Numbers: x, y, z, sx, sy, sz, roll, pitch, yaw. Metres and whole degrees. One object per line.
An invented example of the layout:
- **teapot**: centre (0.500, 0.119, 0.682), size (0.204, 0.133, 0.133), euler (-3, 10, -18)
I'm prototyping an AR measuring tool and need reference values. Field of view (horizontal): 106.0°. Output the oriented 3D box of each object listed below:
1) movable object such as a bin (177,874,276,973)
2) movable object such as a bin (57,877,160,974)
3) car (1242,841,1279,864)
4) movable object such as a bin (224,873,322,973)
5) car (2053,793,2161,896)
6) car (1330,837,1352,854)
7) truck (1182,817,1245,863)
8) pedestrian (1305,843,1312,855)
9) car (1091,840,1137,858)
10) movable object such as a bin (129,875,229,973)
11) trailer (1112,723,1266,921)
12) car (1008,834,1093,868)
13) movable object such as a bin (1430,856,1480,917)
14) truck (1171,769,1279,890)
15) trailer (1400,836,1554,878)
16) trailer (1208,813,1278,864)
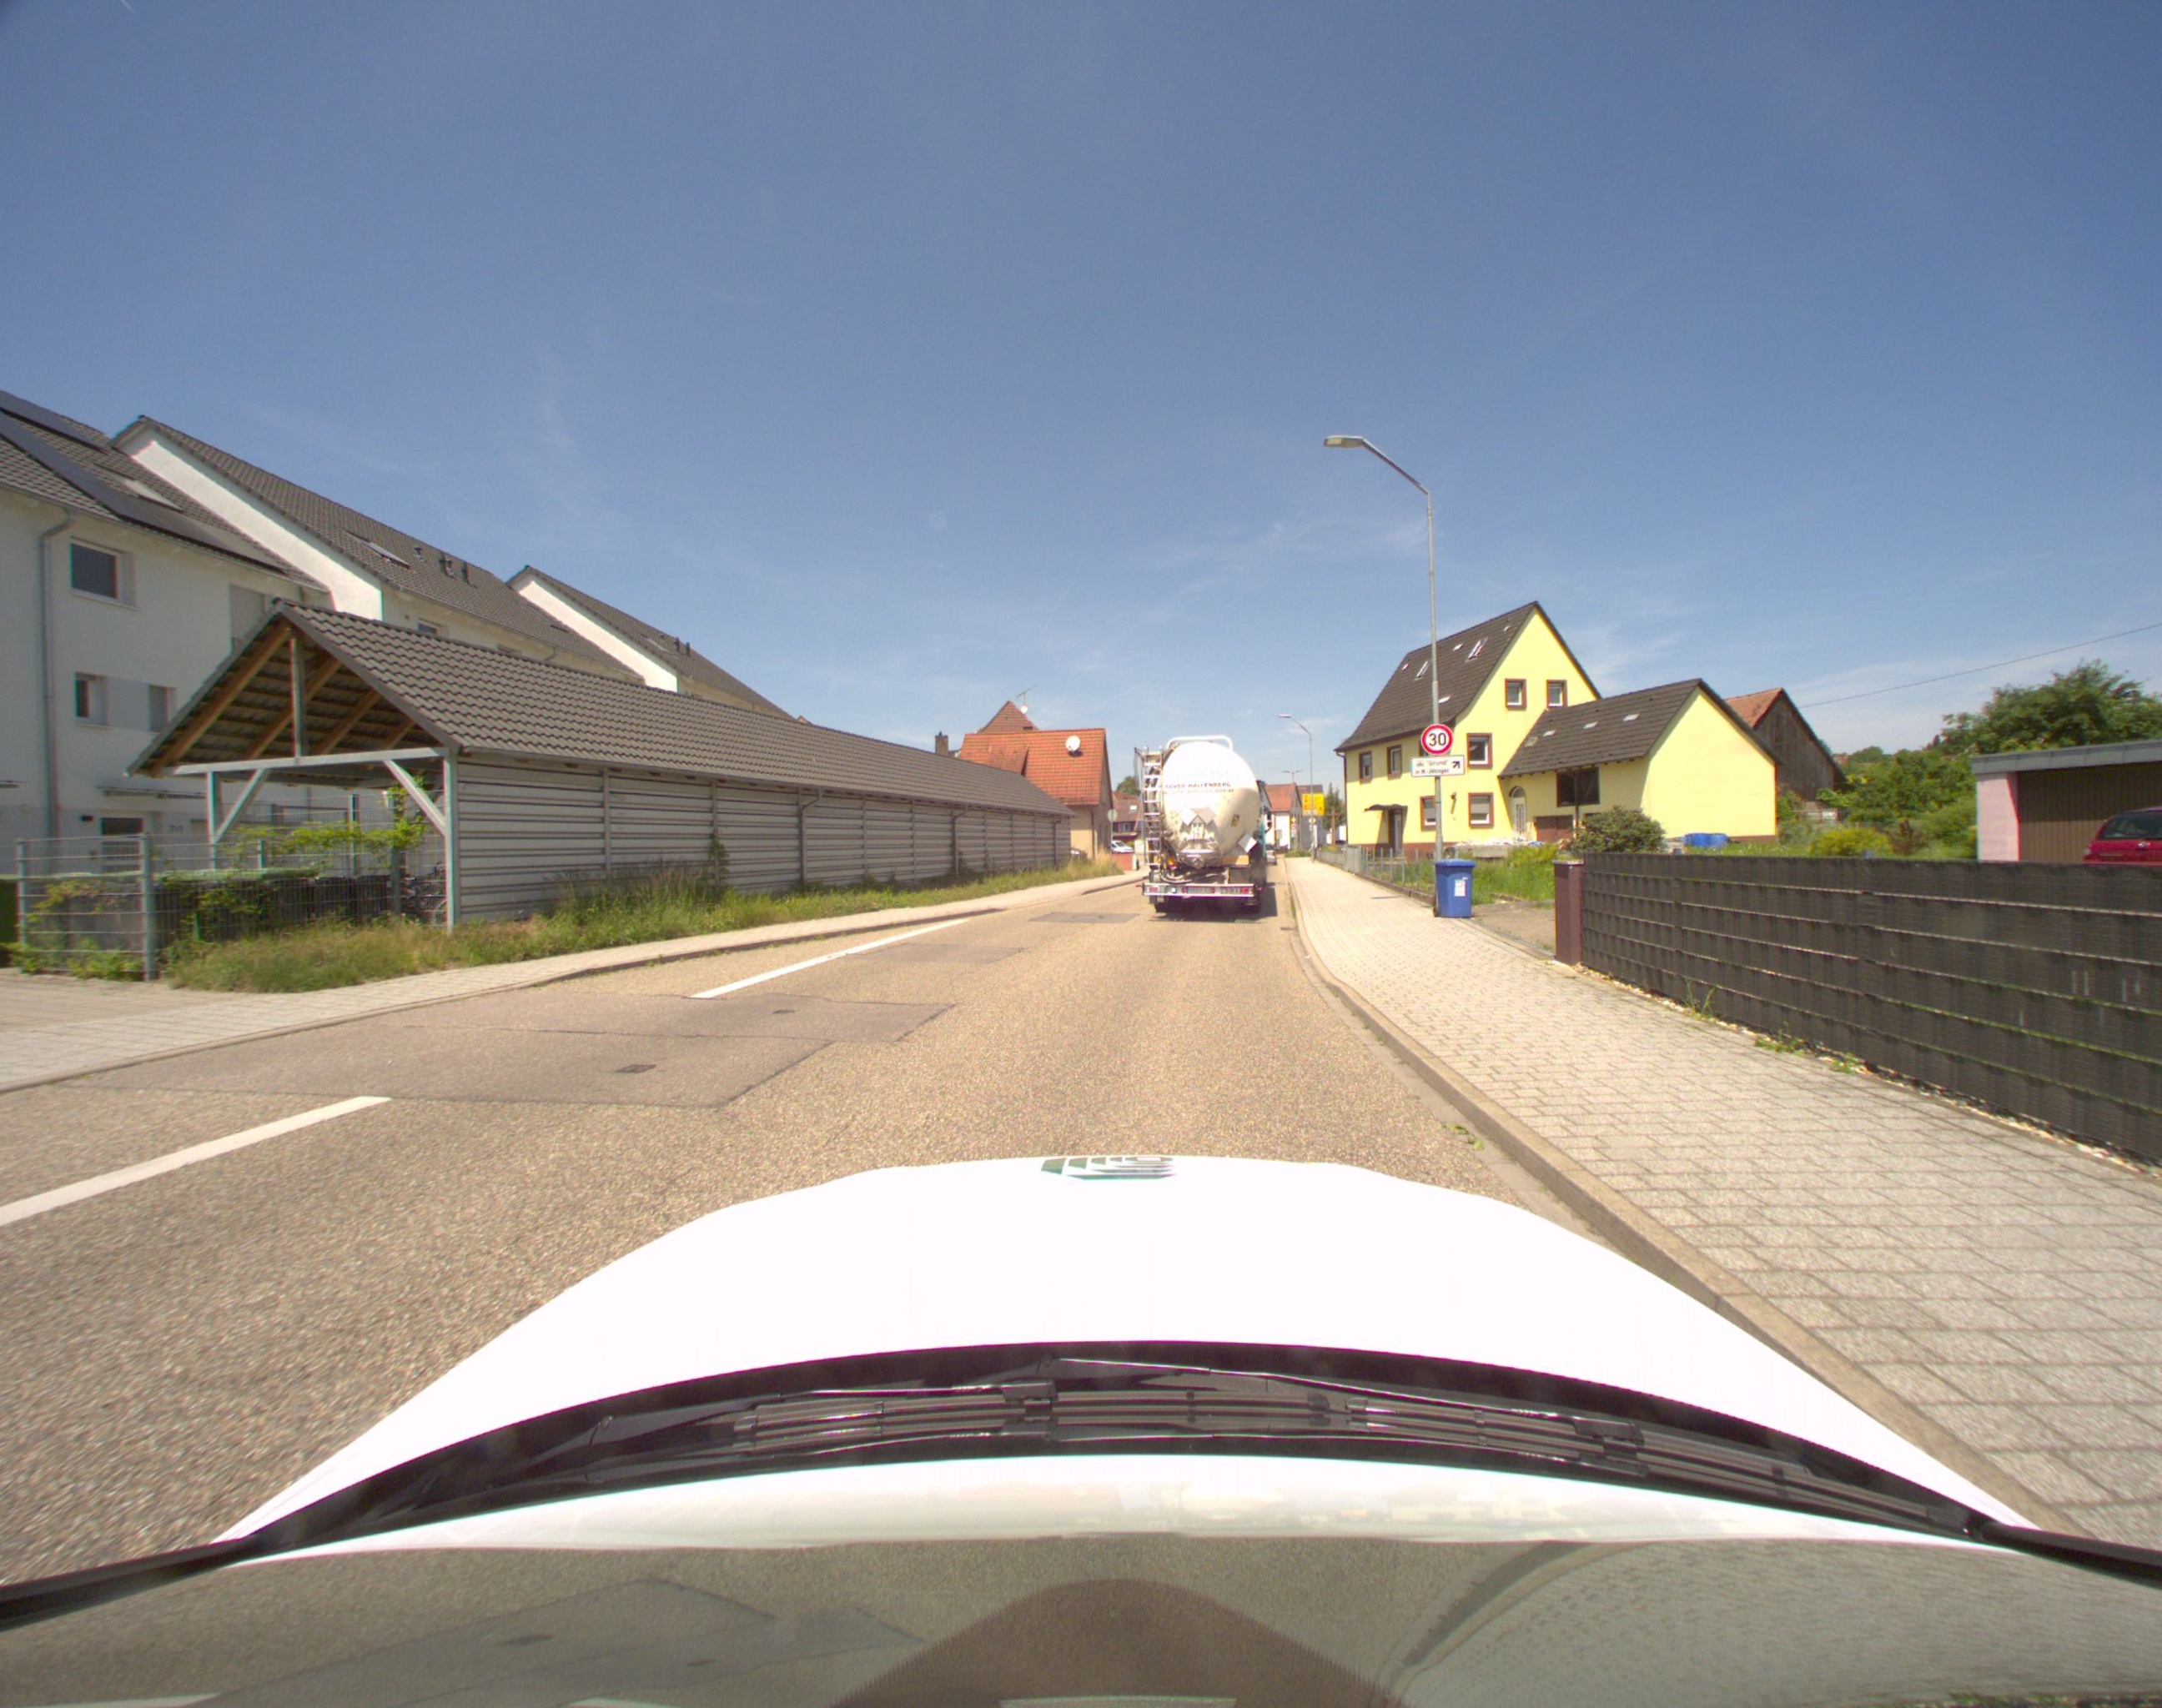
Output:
- **movable object such as a bin**: centre (-11.650, 0.928, 11.118), size (0.635, 1.278, 0.697), euler (-1, 0, 13)
- **movable object such as a bin**: centre (-13.518, 0.975, 11.332), size (0.635, 1.278, 0.697), euler (-1, 0, 13)
- **car**: centre (11.999, -0.083, 54.702), size (1.834, 1.486, 4.003), euler (-1, 0, 3)
- **movable object such as a bin**: centre (-10.834, 0.906, 10.934), size (0.635, 1.278, 0.697), euler (-1, 0, 13)
- **car**: centre (17.464, -0.229, 12.368), size (3.825, 1.486, 1.756), euler (-3, 0, -10)
- **car**: centre (31.707, -1.048, 99.365), size (1.975, 1.912, 4.349), euler (0, -1, 26)
- **truck**: centre (13.224, -1.349, 81.601), size (3.125, 4.401, 5.877), euler (-1, 0, -31)
- **pedestrian**: centre (37.536, -0.835, 134.229), size (0.761, 2.013, 0.983), euler (0, 1, 34)
- **car**: centre (3.461, -0.526, 84.773), size (4.463, 1.785, 1.892), euler (0, 2, 35)
- **movable object such as a bin**: centre (-12.442, 0.948, 11.248), size (0.635, 1.278, 0.697), euler (-1, 0, 13)
- **trailer**: centre (3.454, -0.652, 22.231), size (2.932, 3.948, 11.661), euler (-1, 0, 13)
- **car**: centre (-1.622, -0.154, 43.784), size (4.093, 1.638, 1.873), euler (-2, 0, 15)
- **movable object such as a bin**: centre (6.820, 0.581, 14.873), size (0.563, 1.057, 0.650), euler (-2, 0, -2)
- **truck**: centre (5.398, -0.802, 29.684), size (2.963, 3.965, 5.606), euler (-1, 0, 19)
- **trailer**: centre (15.510, 0.105, 31.943), size (5.356, 1.546, 2.127), euler (-1, 0, -15)
- **trailer**: centre (14.567, -1.291, 74.608), size (3.126, 4.277, 12.478), euler (-1, 0, -4)
